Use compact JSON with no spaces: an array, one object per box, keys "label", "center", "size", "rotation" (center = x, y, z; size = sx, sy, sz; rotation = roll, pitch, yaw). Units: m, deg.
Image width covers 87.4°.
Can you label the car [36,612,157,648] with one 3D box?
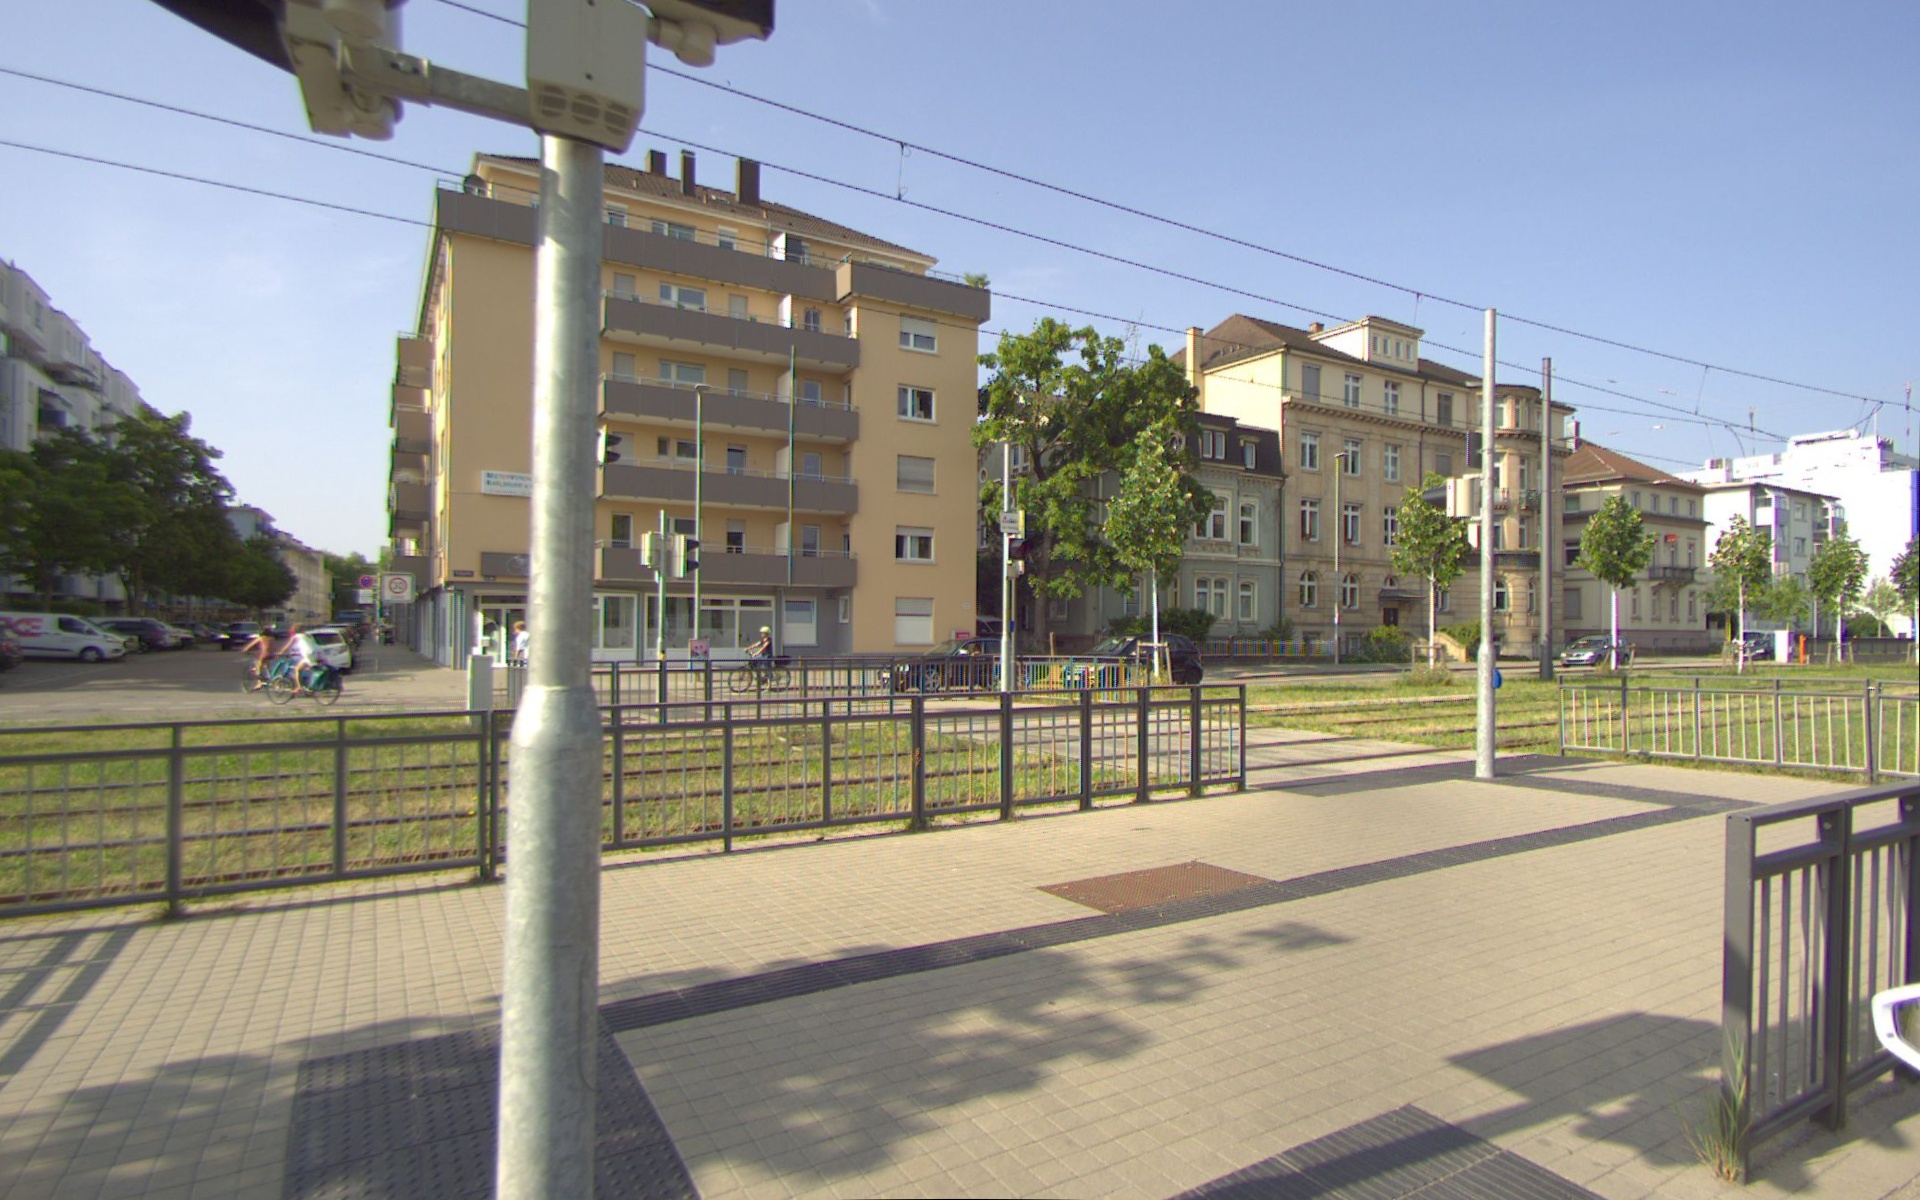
[{"label":"car","center":[-40.598,1.418,47.349],"size":[3.954,1.639,1.984],"rotation":[2,-2,-31]}]

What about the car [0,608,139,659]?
[{"label":"car","center":[-37.320,1.400,41.629],"size":[4.778,1.994,1.984],"rotation":[2,-2,-31]}]

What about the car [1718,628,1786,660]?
[{"label":"car","center":[56.689,3.145,71.850],"size":[5.208,2.040,2.236],"rotation":[4,-1,-33]}]

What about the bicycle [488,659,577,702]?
[{"label":"bicycle","center":[-9.127,1.715,21.486],"size":[1.573,0.808,0.720],"rotation":[2,0,-3]}]

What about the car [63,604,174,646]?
[{"label":"car","center":[-42.354,1.264,50.687],"size":[3.954,2.040,1.984],"rotation":[2,-2,-31]}]

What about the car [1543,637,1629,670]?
[{"label":"car","center":[31.828,2.670,51.040],"size":[4.479,1.597,1.983],"rotation":[2,-2,-32]}]

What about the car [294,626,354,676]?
[{"label":"car","center":[-23.256,1.819,36.721],"size":[1.756,1.711,3.765],"rotation":[1,-2,-33]}]

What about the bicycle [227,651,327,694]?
[{"label":"bicycle","center":[-17.389,1.815,25.550],"size":[2.944,0.978,0.899],"rotation":[0,-2,30]}]

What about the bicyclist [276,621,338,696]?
[{"label":"bicyclist","center":[-13.527,1.201,20.823],"size":[0.967,1.520,0.620],"rotation":[0,-1,23]}]

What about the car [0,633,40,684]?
[{"label":"car","center":[-34.608,1.989,34.351],"size":[4.336,1.650,1.897],"rotation":[2,0,-34]}]

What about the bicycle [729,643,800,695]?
[{"label":"bicycle","center":[-5.299,1.853,27.254],"size":[1.741,1.364,0.690],"rotation":[2,-2,-36]}]

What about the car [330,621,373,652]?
[{"label":"car","center":[-33.791,1.999,55.720],"size":[1.797,1.625,3.914],"rotation":[2,-2,-35]}]

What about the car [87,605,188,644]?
[{"label":"car","center":[-44.787,1.373,54.819],"size":[3.954,2.040,1.984],"rotation":[2,-2,-31]}]

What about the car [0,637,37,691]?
[{"label":"car","center":[-33.018,2.052,32.521],"size":[4.336,1.650,1.897],"rotation":[2,0,-34]}]

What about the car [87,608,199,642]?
[{"label":"car","center":[-47.153,1.468,58.084],"size":[4.715,1.843,1.984],"rotation":[2,-2,-31]}]

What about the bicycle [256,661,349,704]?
[{"label":"bicycle","center":[-13.675,1.708,20.884],"size":[1.964,0.804,0.629],"rotation":[0,-1,23]}]

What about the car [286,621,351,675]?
[{"label":"car","center":[-21.142,1.527,33.085],"size":[1.691,1.604,3.601],"rotation":[-2,0,-34]}]

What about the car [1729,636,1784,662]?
[{"label":"car","center":[48.632,2.980,61.330],"size":[3.783,1.483,1.510],"rotation":[0,-1,-33]}]

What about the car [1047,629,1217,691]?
[{"label":"car","center":[4.689,1.593,27.207],"size":[4.351,1.533,1.982],"rotation":[2,-2,-33]}]

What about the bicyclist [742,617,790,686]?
[{"label":"bicyclist","center":[-5.268,1.394,27.274],"size":[1.073,1.829,0.664],"rotation":[2,-1,-37]}]

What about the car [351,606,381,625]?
[{"label":"car","center":[-52.437,1.371,88.675],"size":[1.980,1.658,3.961],"rotation":[2,-2,-35]}]

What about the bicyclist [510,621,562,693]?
[{"label":"bicyclist","center":[-9.065,1.209,21.489],"size":[0.790,1.459,0.687],"rotation":[2,0,-2]}]

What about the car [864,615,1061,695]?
[{"label":"car","center":[0.127,1.484,27.817],"size":[5.246,2.040,1.982],"rotation":[2,-2,-33]}]

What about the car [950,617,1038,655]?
[{"label":"car","center":[1.603,1.760,49.103],"size":[2.141,1.771,4.605],"rotation":[1,-2,-32]}]

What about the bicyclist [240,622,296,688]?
[{"label":"bicyclist","center":[-17.749,1.386,25.769],"size":[0.877,1.650,0.890],"rotation":[0,-1,31]}]

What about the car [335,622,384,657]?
[{"label":"car","center":[-29.284,1.912,48.954],"size":[1.797,1.625,3.914],"rotation":[2,-2,-35]}]

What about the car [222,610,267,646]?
[{"label":"car","center":[-41.728,1.628,58.641],"size":[1.791,2.040,3.966],"rotation":[1,-2,-31]}]
